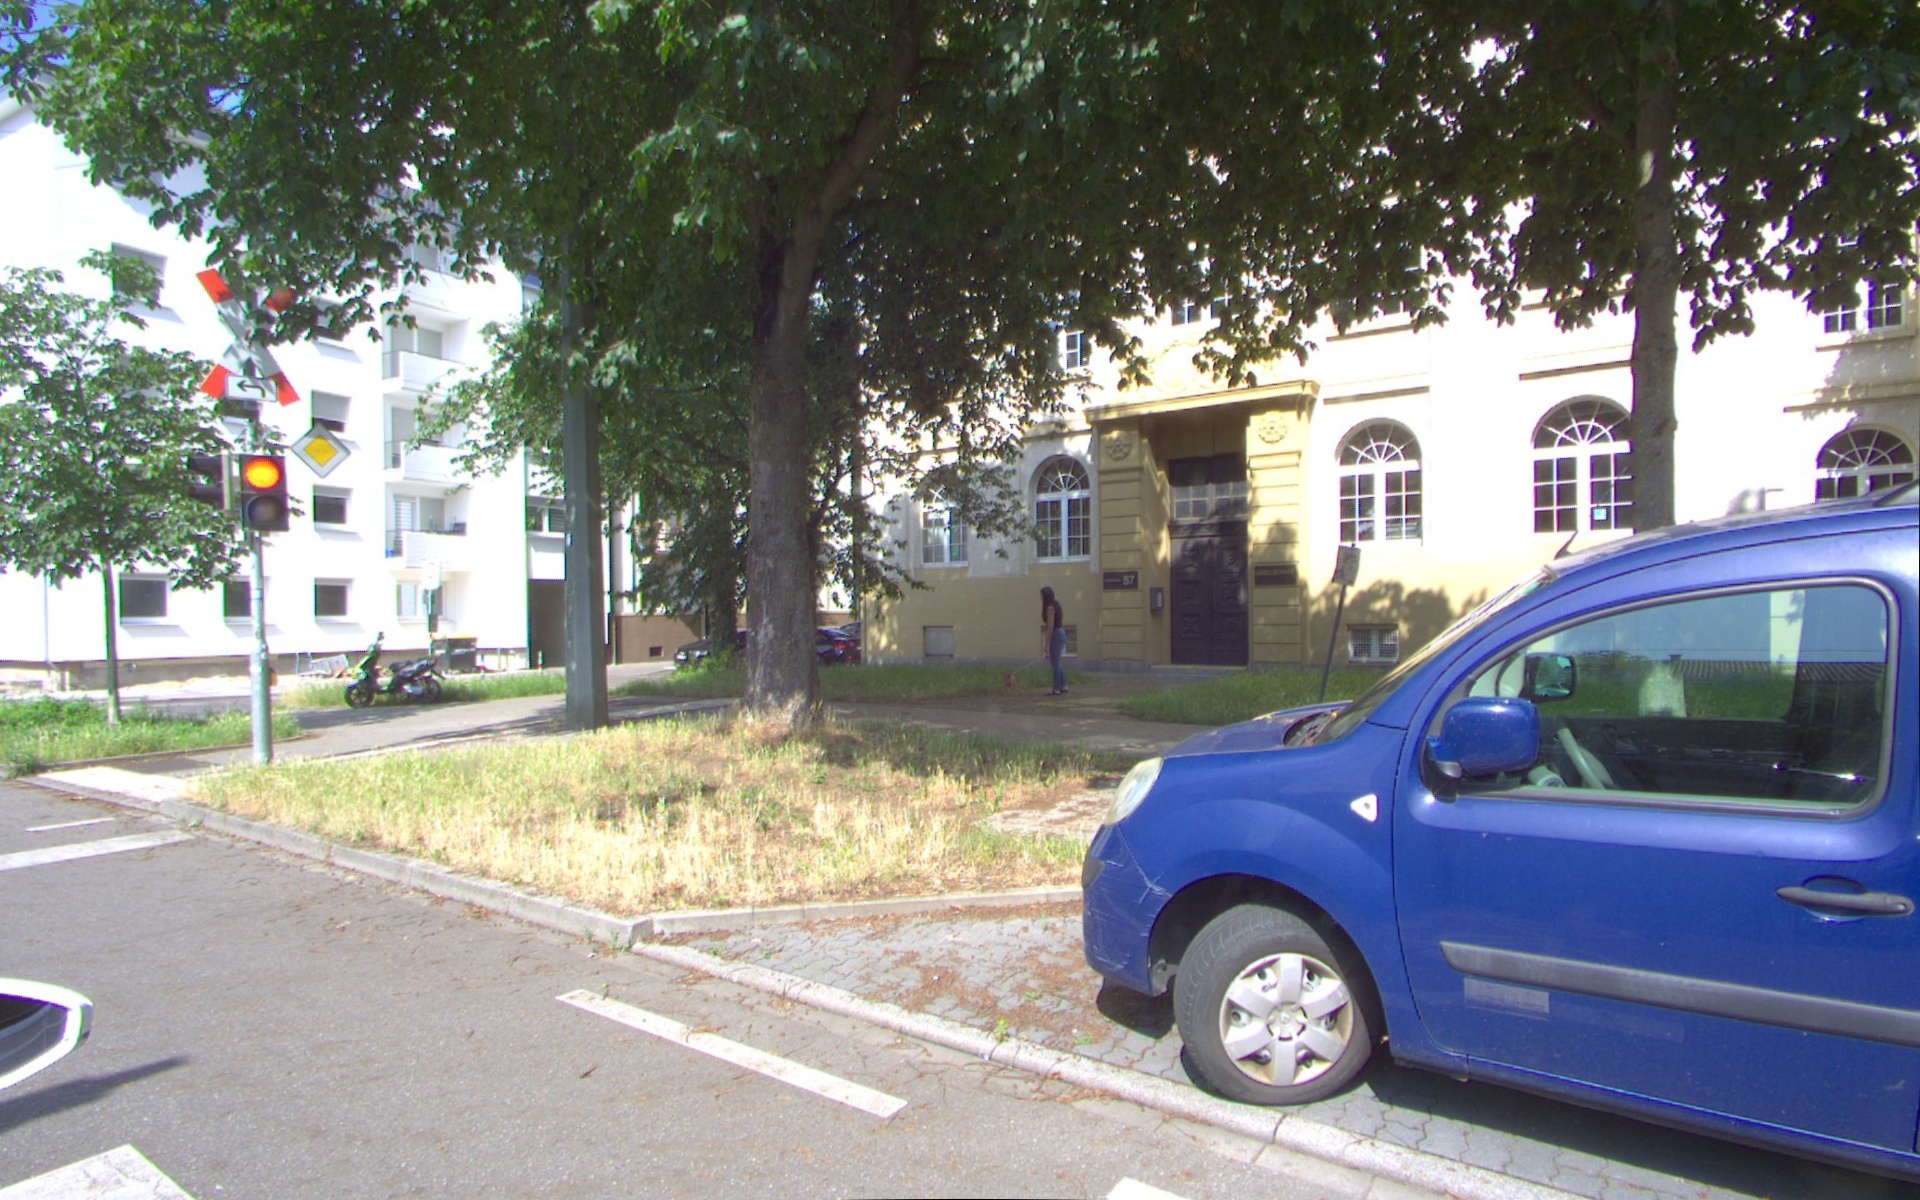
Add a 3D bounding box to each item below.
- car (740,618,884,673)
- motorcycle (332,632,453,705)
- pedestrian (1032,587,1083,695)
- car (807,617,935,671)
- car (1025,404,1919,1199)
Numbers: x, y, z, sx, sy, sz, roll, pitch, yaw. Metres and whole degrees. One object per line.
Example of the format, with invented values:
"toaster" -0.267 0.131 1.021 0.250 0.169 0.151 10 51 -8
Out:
"car" -4.296 1.270 28.939 3.942 1.478 1.736 -1 0 32
"motorcycle" -10.390 1.248 18.357 1.811 1.233 0.571 -2 4 0
"pedestrian" 1.505 0.615 15.367 0.532 1.617 0.630 -1 0 31
"car" -2.821 1.338 31.334 3.955 1.560 1.797 -1 -1 42
"car" 2.416 0.551 2.839 4.128 1.921 1.816 0 1 36
